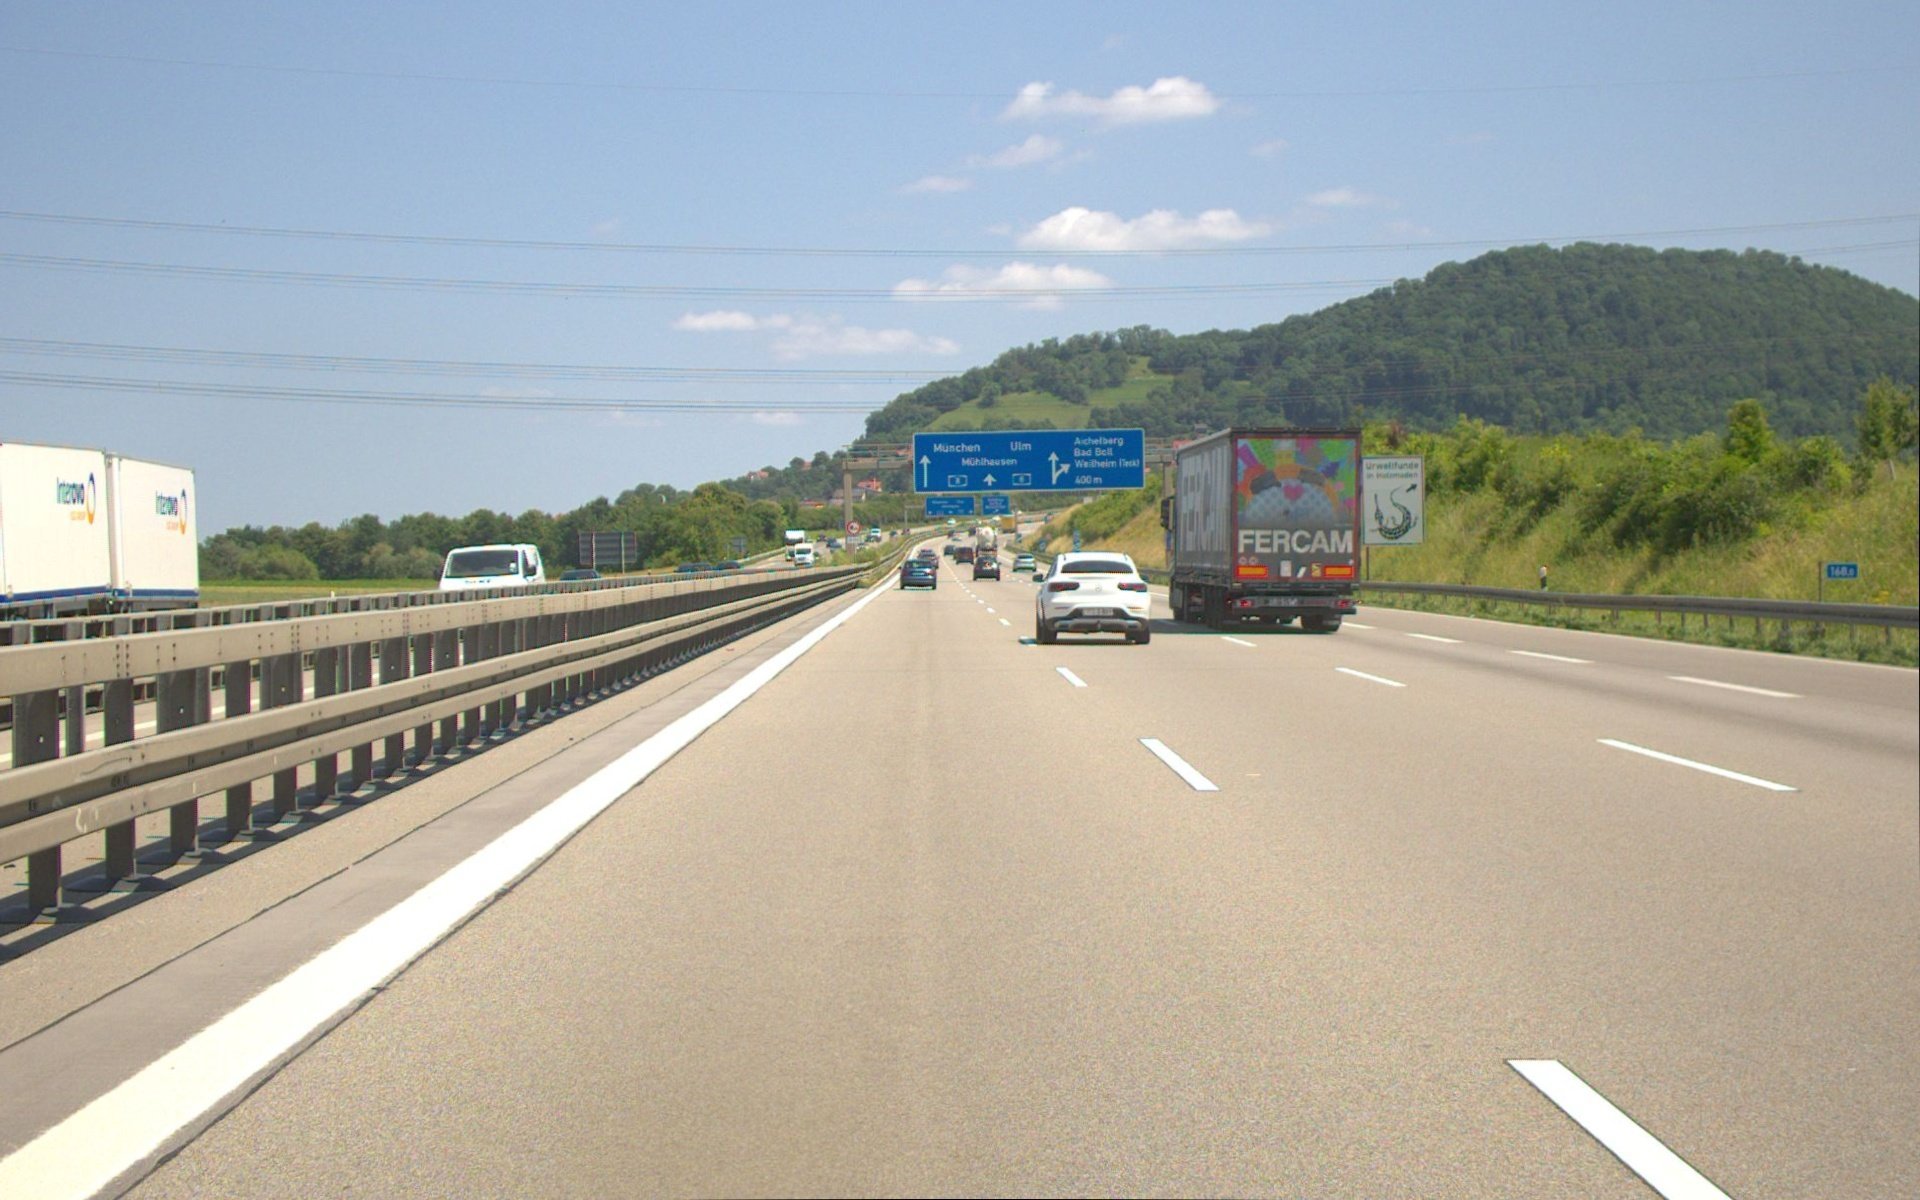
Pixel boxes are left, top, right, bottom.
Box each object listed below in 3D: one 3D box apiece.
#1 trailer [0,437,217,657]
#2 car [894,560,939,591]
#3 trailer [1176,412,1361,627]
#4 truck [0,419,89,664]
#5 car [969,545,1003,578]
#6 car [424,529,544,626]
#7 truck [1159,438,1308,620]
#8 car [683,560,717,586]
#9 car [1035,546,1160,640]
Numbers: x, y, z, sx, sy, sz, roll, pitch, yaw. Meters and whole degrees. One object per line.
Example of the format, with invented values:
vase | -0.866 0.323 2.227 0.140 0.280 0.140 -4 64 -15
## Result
trailer | -17.569 -1.033 69.136 2.832 4.032 11.666 1 0 -1
car | -2.010 -1.148 159.374 1.993 1.384 4.000 1 0 0
trailer | 6.345 -1.601 72.508 2.725 4.141 11.808 1 0 0
truck | -17.418 -0.999 59.519 2.820 4.075 7.532 1 0 -1
car | 1.584 -2.353 210.742 1.993 2.007 4.000 1 0 0
car | -10.484 -0.520 76.037 1.984 2.003 4.649 -3 1 -1
truck | 6.266 -1.598 79.635 2.752 4.007 6.789 1 0 -1
car | -15.483 -1.585 204.531 1.671 1.435 4.566 -3 0 -1
car | 2.380 -0.132 60.835 1.914 1.575 5.231 1 0 -1
